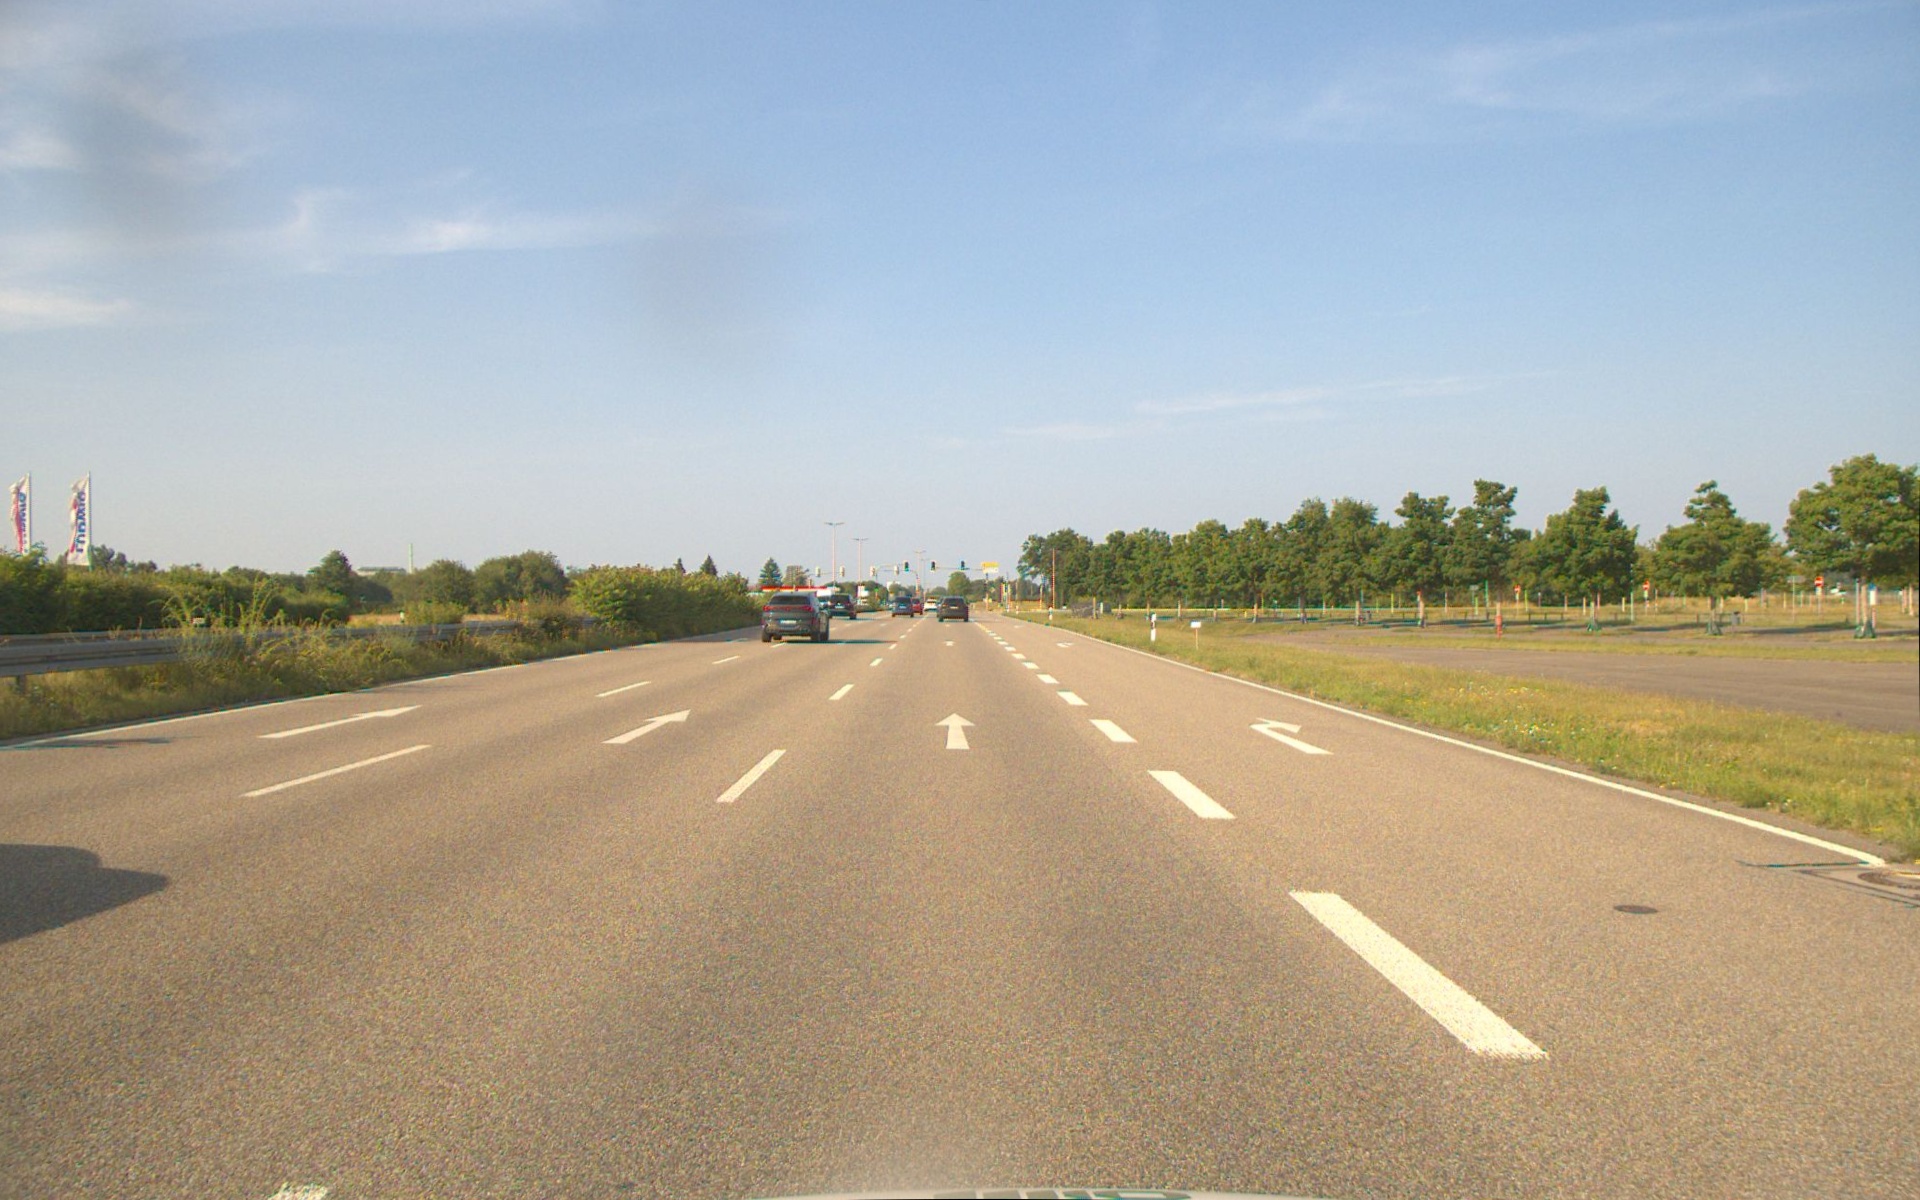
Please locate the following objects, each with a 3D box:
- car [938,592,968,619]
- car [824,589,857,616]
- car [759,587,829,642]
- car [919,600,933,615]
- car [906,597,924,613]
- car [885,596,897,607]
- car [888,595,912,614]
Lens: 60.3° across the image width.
[{"bbox_3d":[-0.479,0.327,107.888,1.893,1.709,4.400,0,0,-1],"label":"car"},{"bbox_3d":[-8.002,0.156,111.191,1.893,1.709,4.400,2,0,-1],"label":"car"},{"bbox_3d":[-5.297,0.454,53.241,1.808,1.640,4.400,2,0,-1],"label":"car"},{"bbox_3d":[-4.176,0.908,203.824,1.612,1.758,3.400,1,-1,-1],"label":"car"},{"bbox_3d":[-4.365,0.515,161.742,1.614,1.489,3.980,2,0,-1],"label":"car"},{"bbox_3d":[-10.209,0.146,243.746,1.567,1.559,3.999,2,0,-1],"label":"car"},{"bbox_3d":[-4.823,0.359,134.036,1.776,1.489,4.400,2,0,-1],"label":"car"}]
